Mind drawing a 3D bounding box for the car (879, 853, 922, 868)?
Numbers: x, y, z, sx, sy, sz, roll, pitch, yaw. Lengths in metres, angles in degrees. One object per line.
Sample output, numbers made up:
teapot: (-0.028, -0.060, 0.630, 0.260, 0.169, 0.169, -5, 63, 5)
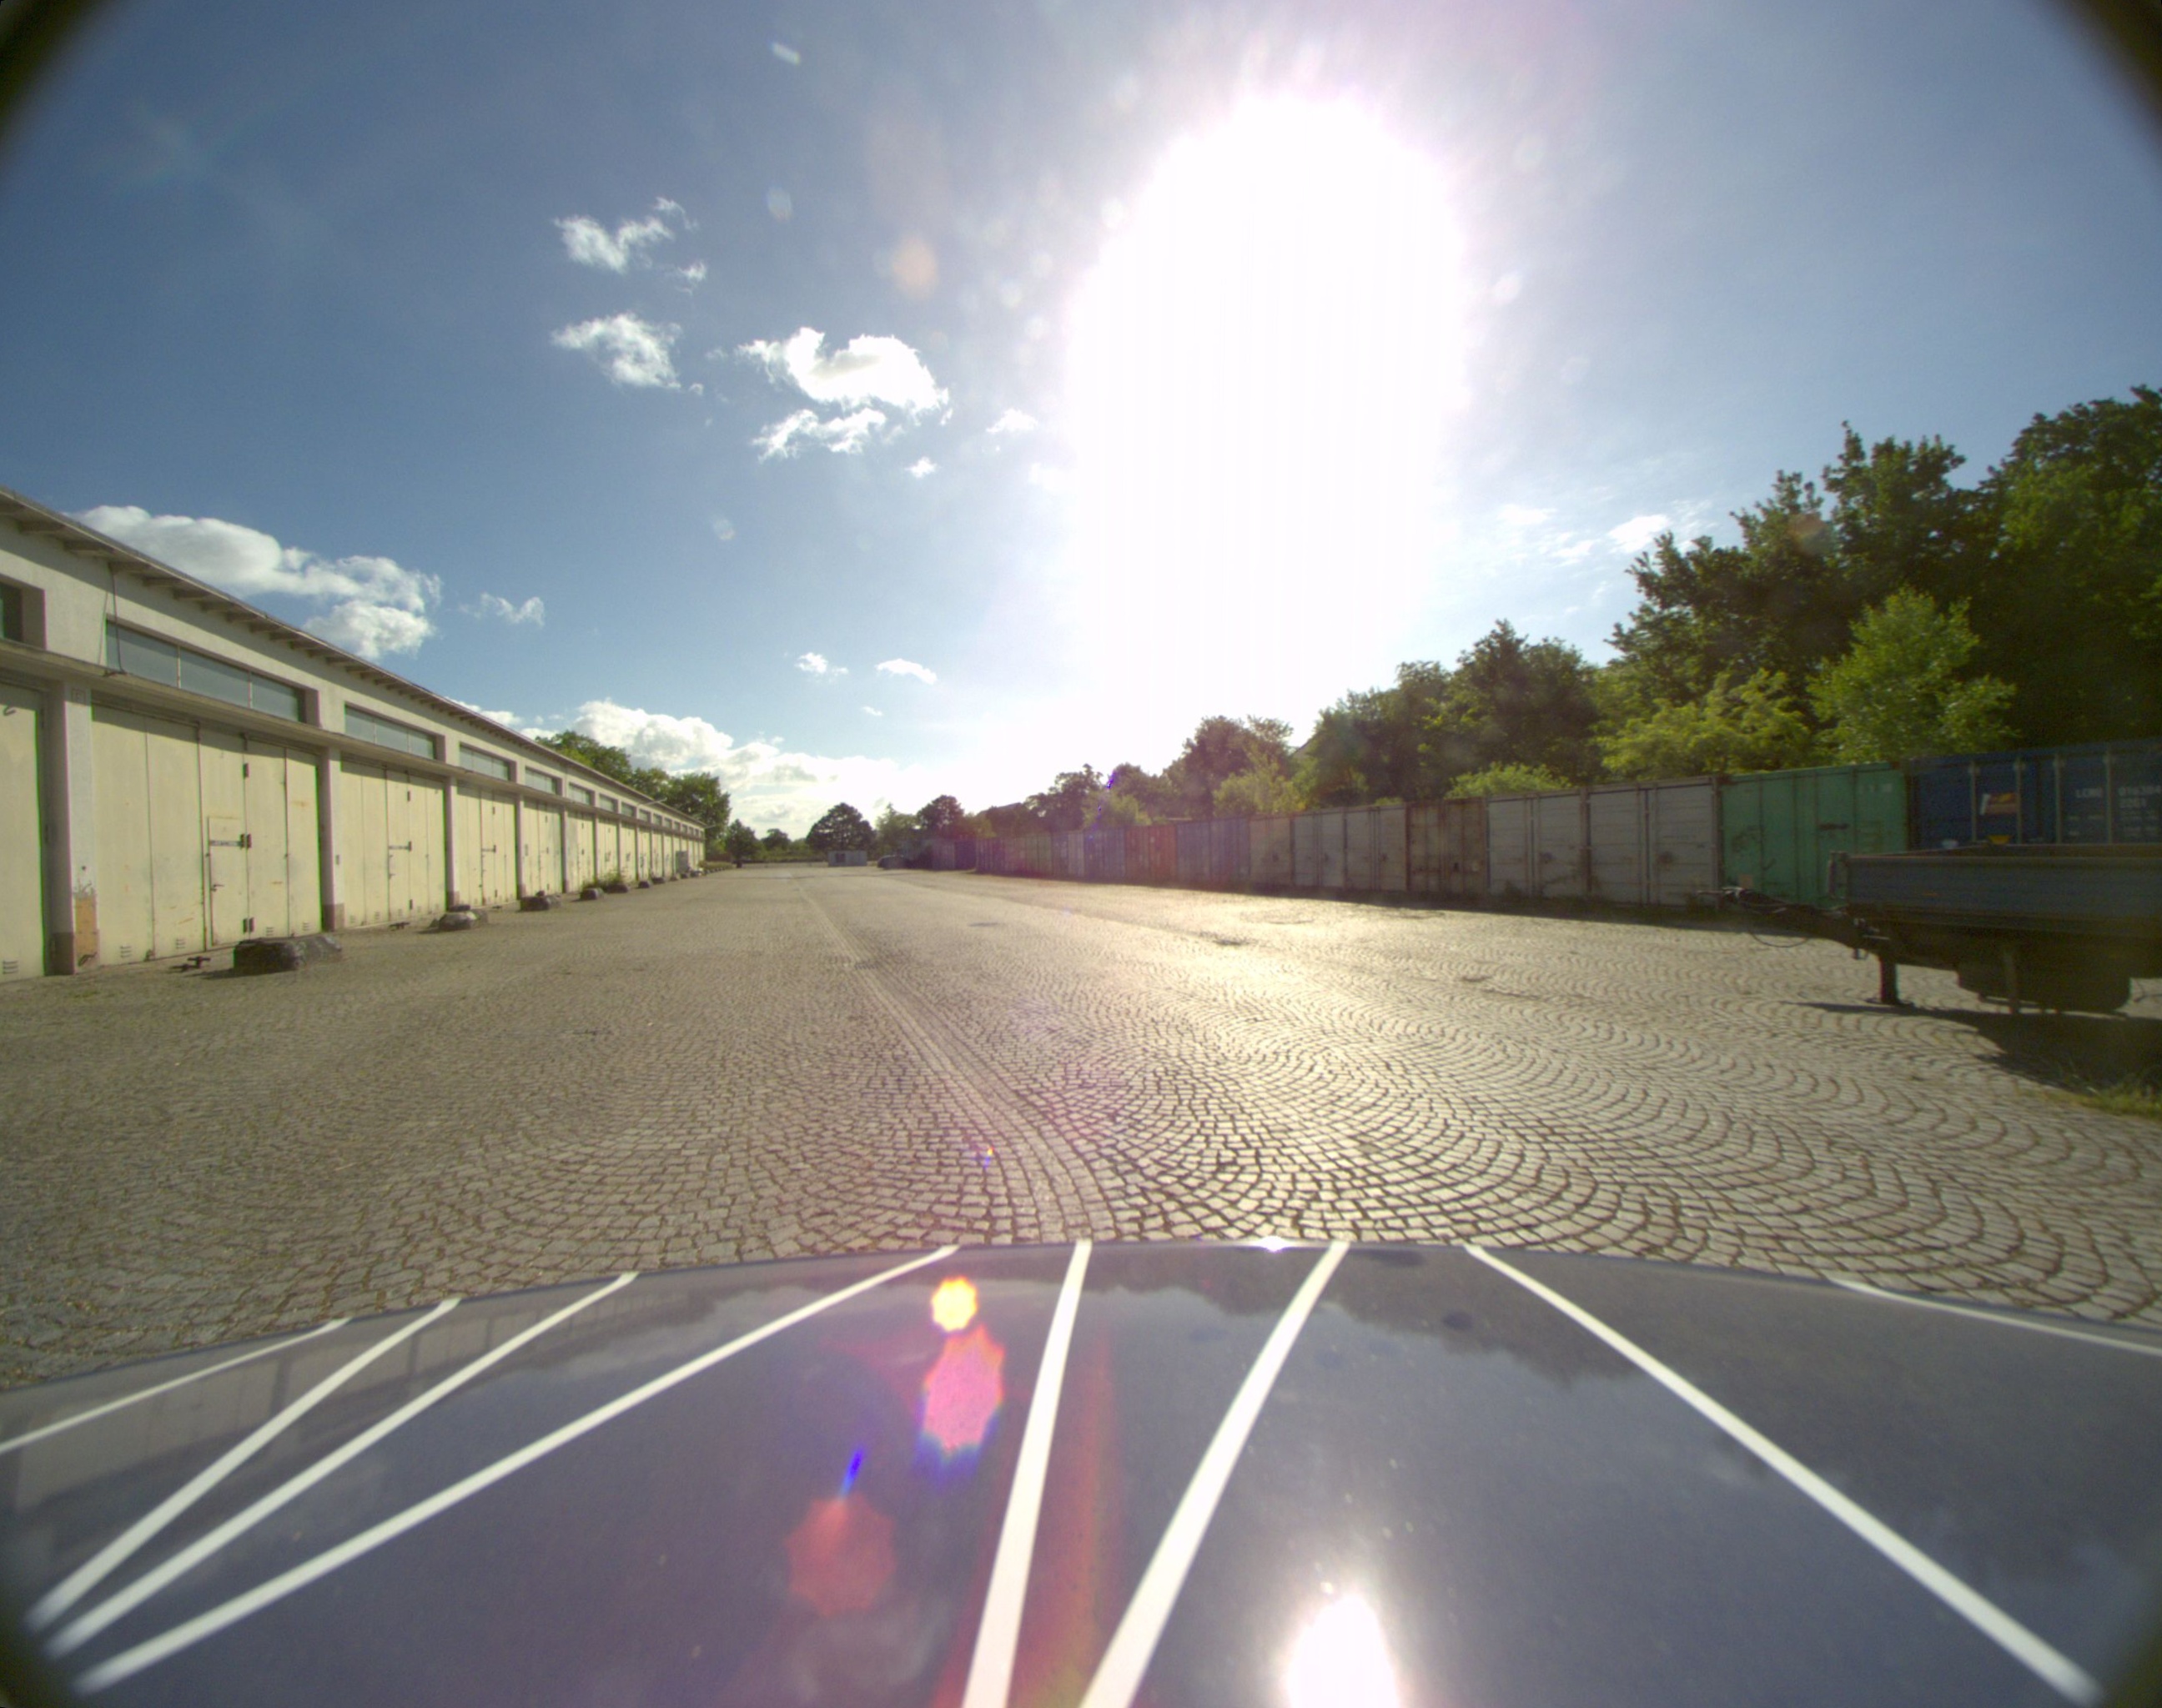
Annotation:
car: (-19.128, 0.669, 80.453, 4.119, 1.289, 1.996, -4, 2, -24)

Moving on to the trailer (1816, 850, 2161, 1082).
trailer: (8.417, 0.723, 4.742, 2.652, 1.406, 4.852, -2, 1, -21)
